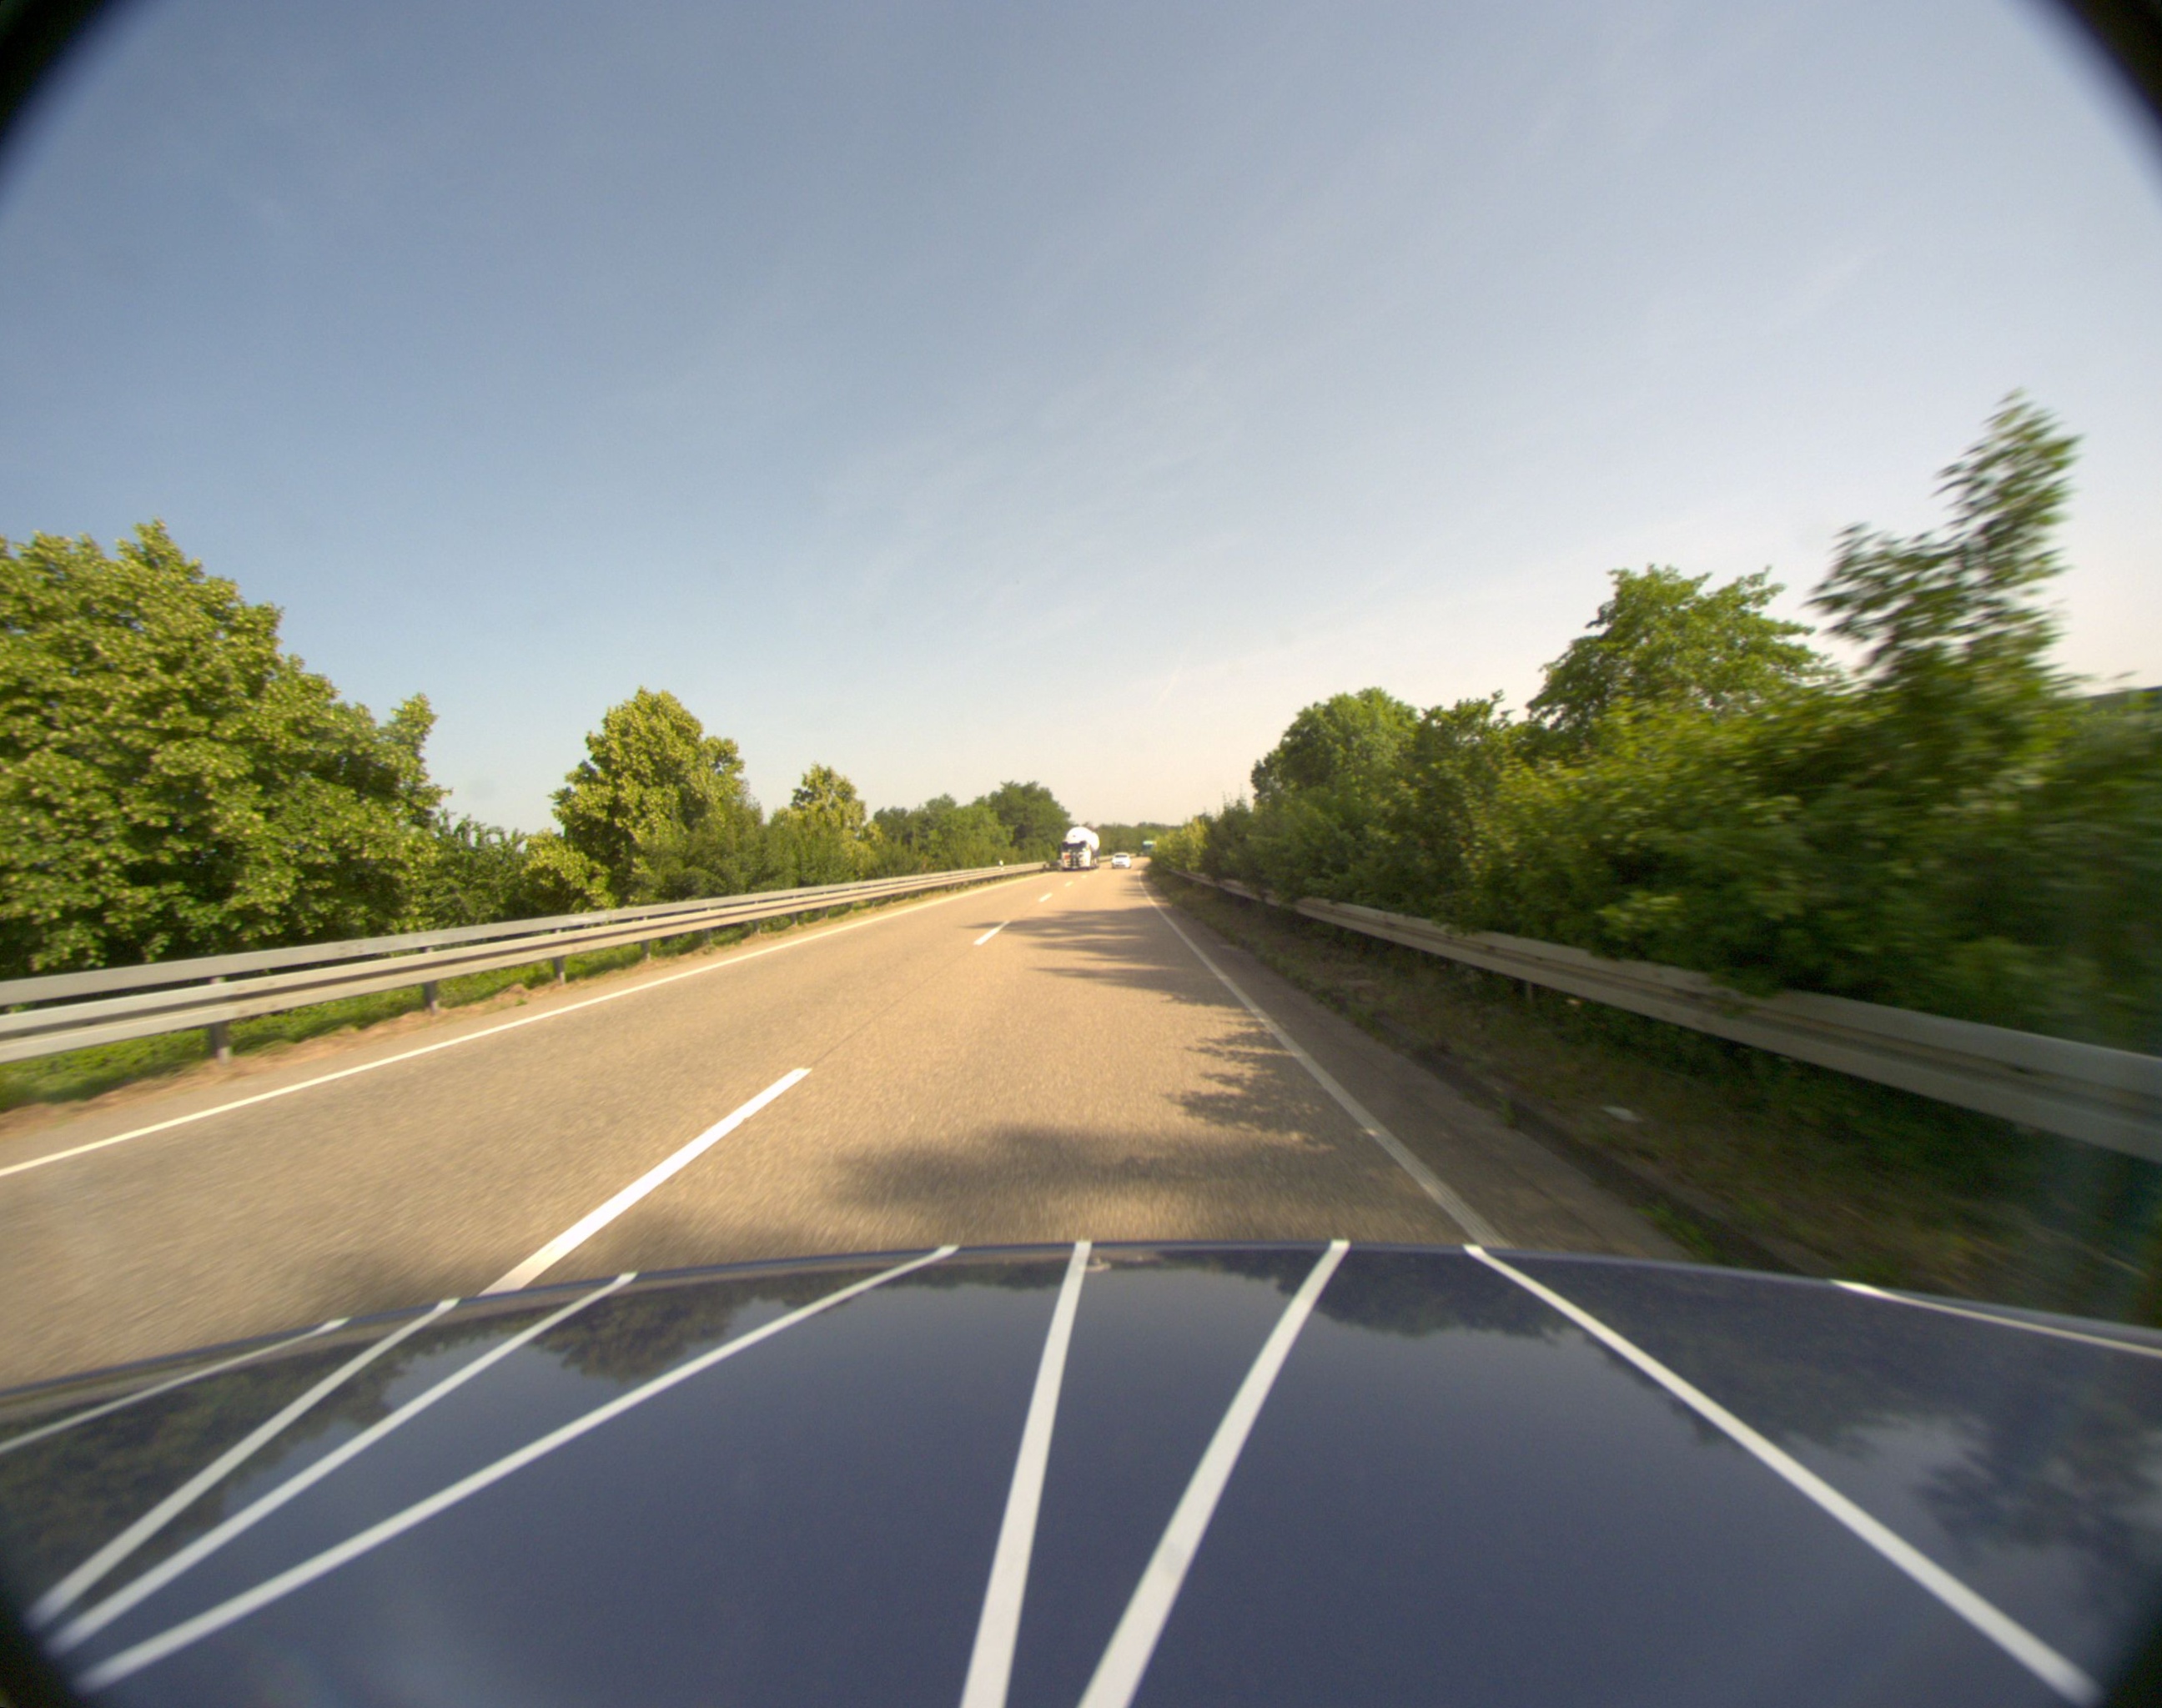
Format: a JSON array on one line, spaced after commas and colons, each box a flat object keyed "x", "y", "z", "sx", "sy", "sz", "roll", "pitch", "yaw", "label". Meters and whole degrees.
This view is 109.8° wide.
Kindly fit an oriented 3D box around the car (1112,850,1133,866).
[{"x": 4.033, "y": 0.369, "z": 73.133, "sx": 1.788, "sy": 1.428, "sz": 4.001, "roll": -3, "pitch": 1, "yaw": 6, "label": "car"}]

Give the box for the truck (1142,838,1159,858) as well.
[{"x": 15.807, "y": -1.398, "z": 173.265, "sx": 2.546, "sy": 4.137, "sz": 8.445, "roll": -2, "pitch": 2, "yaw": 13, "label": "truck"}]

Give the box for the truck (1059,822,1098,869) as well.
[{"x": -0.148, "y": -0.819, "z": 68.407, "sx": 2.778, "sy": 3.939, "sz": 5.628, "roll": -2, "pitch": 1, "yaw": 5, "label": "truck"}]

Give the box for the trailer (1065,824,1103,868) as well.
[{"x": 0.360, "y": -0.796, "z": 73.774, "sx": 2.762, "sy": 3.969, "sz": 8.188, "roll": -2, "pitch": 1, "yaw": 6, "label": "trailer"}]
